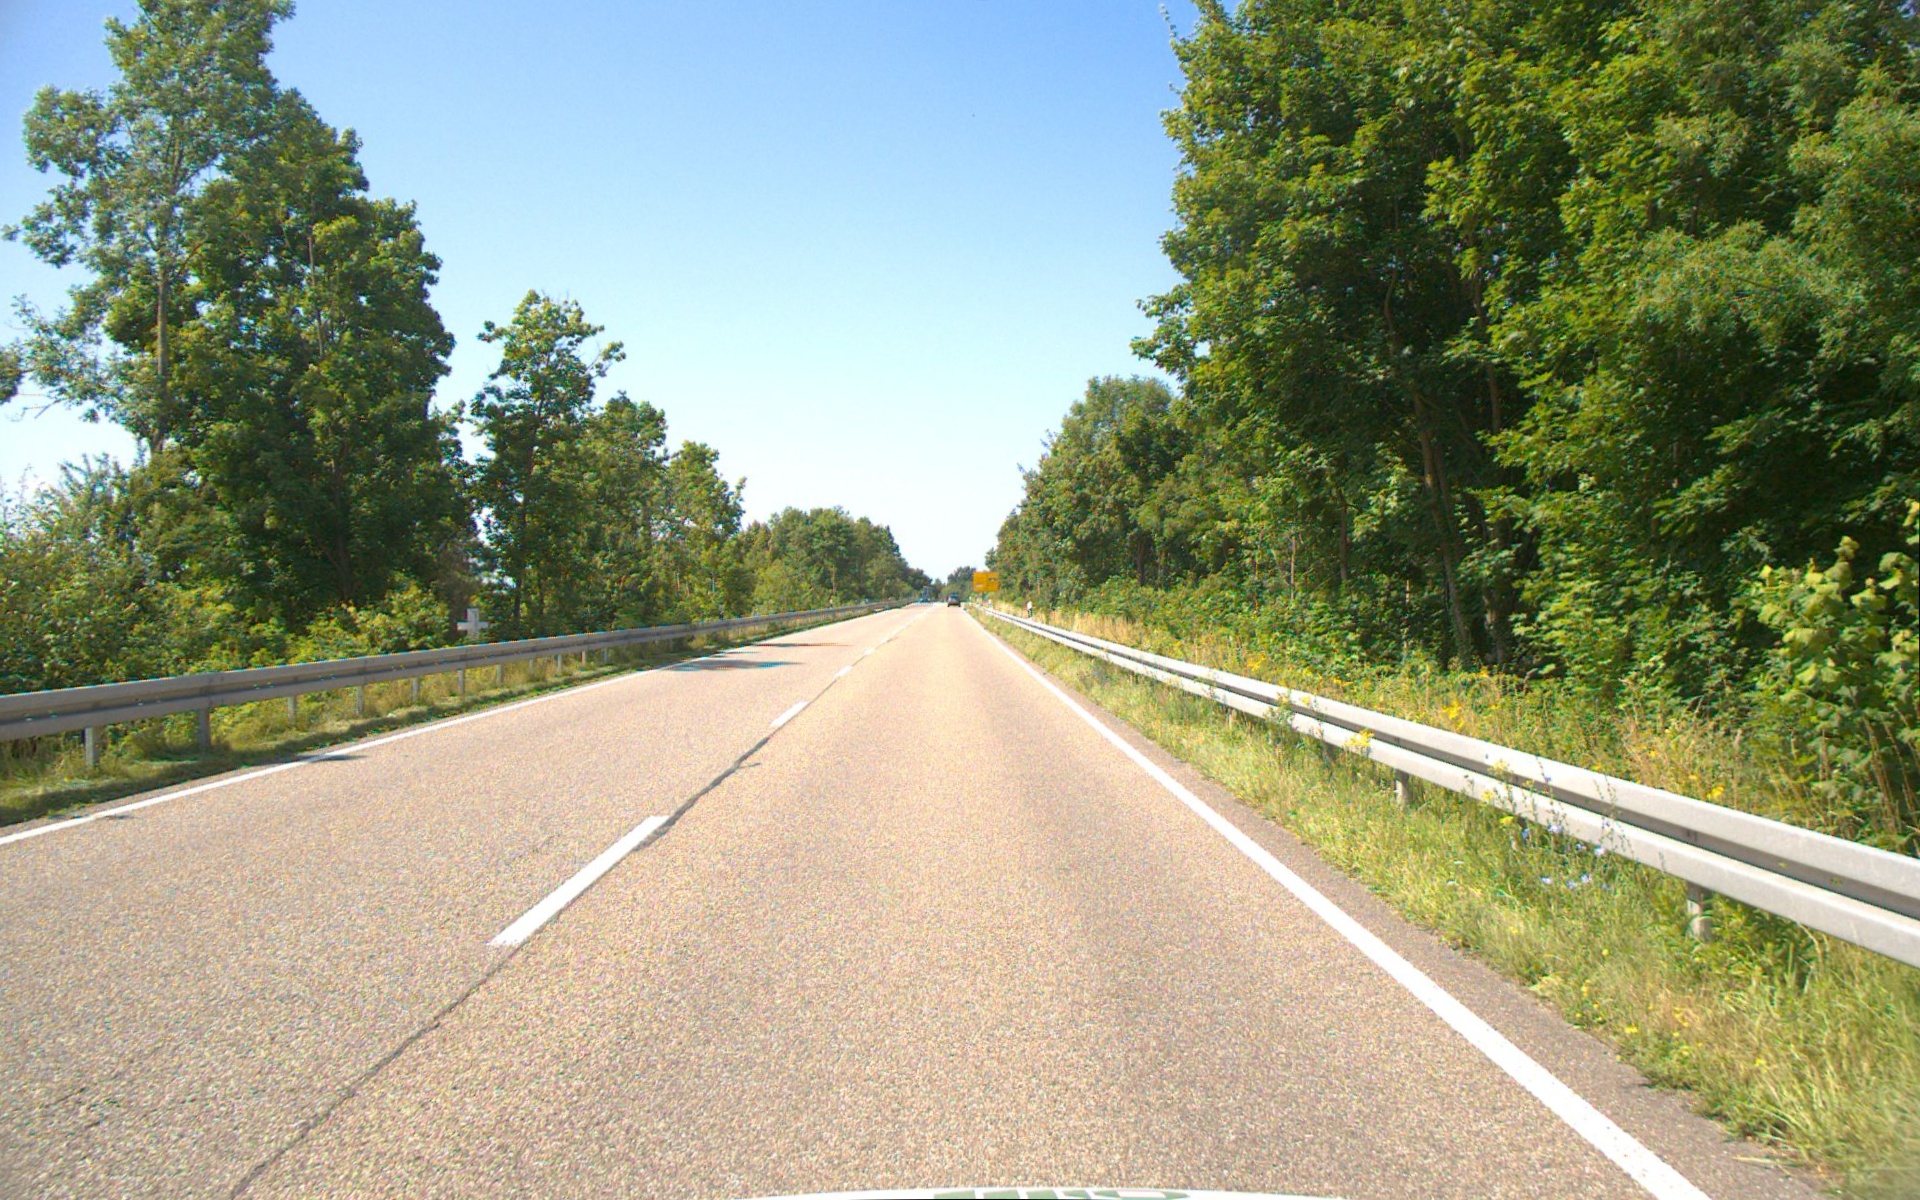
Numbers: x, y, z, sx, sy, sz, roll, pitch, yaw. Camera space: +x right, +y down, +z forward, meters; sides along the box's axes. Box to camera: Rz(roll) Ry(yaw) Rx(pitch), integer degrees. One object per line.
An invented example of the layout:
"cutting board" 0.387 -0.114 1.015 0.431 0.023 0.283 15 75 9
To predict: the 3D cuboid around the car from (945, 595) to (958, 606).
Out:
"car" -1.156 0.015 222.542 1.705 1.496 3.693 0 0 1
